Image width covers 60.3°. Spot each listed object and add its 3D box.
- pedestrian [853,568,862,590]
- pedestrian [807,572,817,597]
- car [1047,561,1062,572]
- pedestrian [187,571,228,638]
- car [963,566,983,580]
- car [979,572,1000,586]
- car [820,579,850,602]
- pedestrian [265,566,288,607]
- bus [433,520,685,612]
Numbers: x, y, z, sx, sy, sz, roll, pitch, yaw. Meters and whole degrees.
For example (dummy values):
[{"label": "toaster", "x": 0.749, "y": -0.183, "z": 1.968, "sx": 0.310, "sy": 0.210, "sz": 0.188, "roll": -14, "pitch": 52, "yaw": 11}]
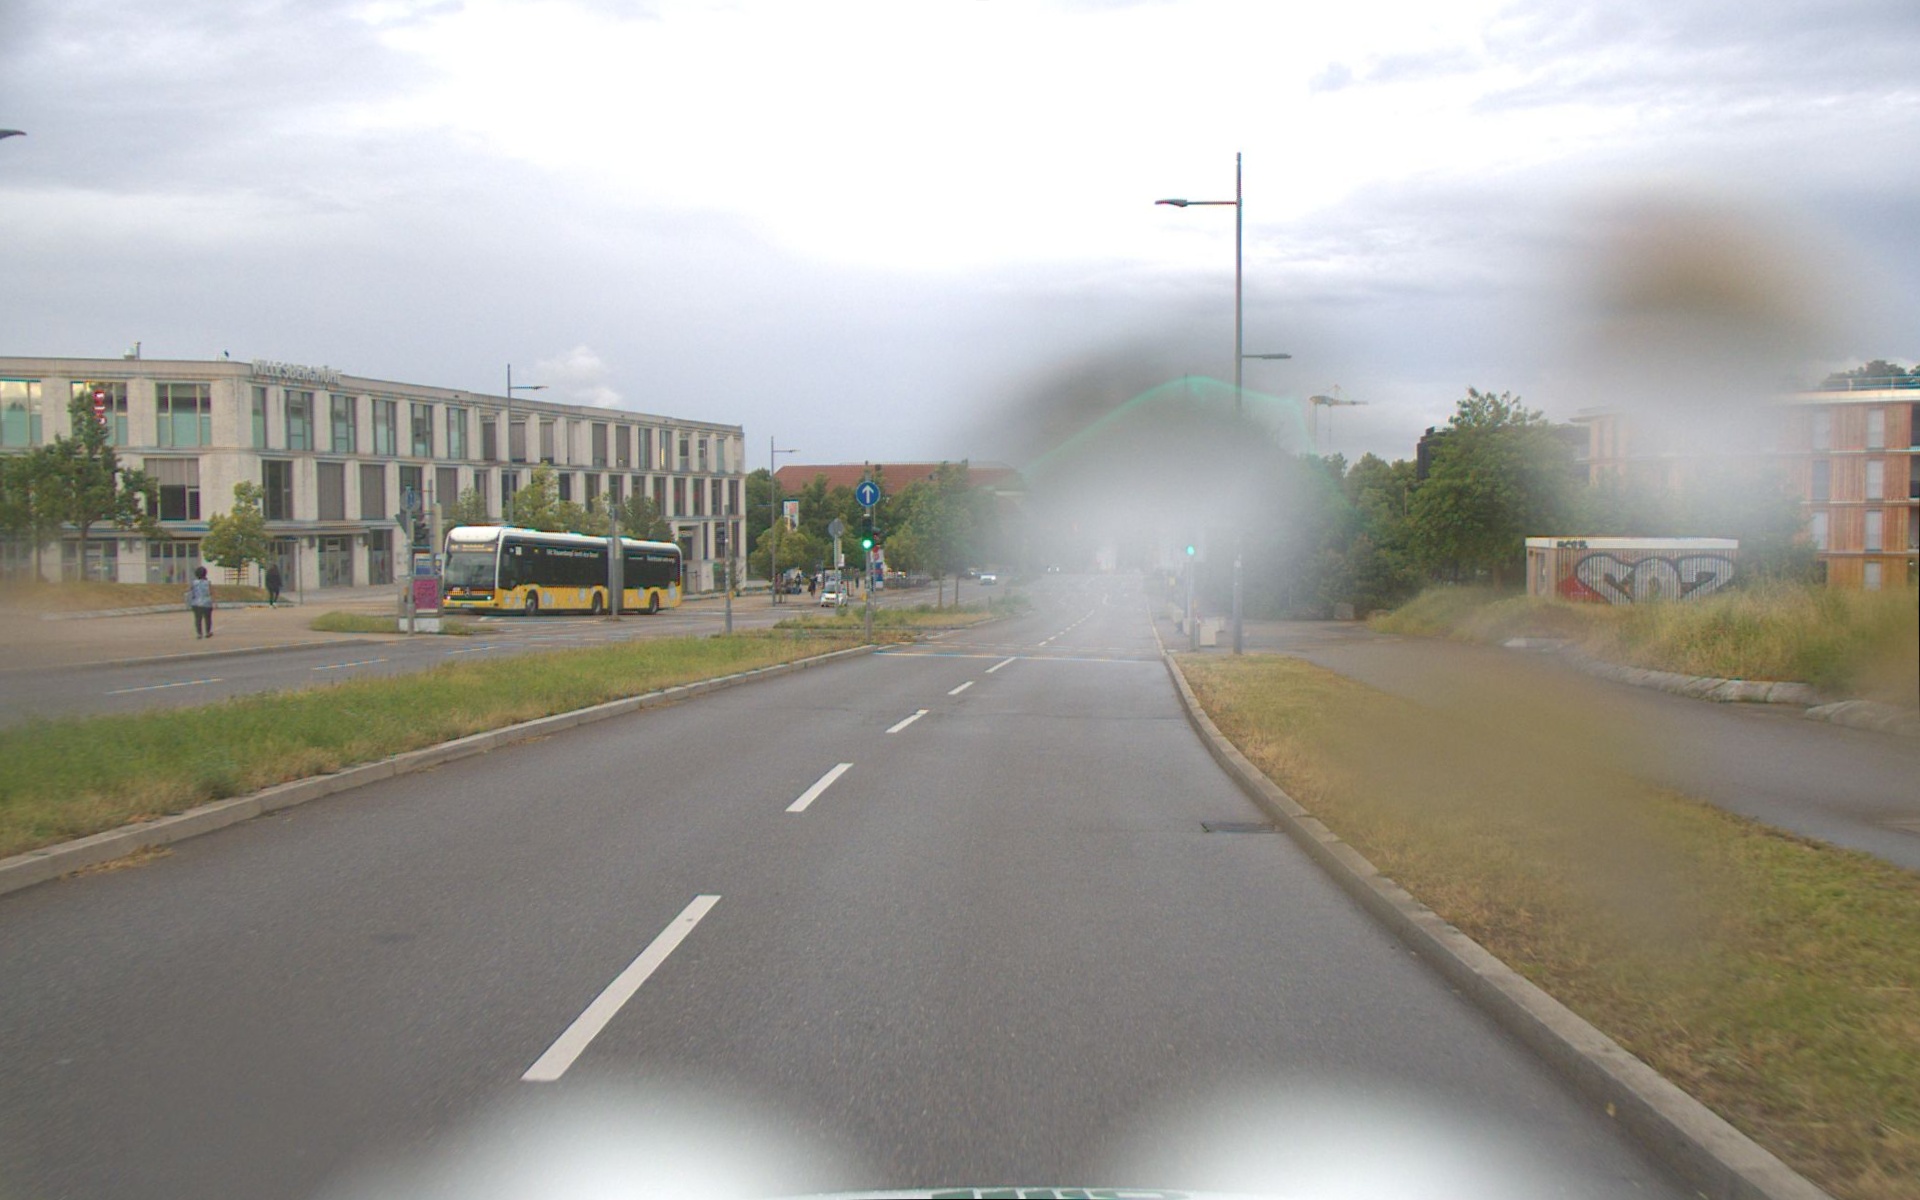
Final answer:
[{"label": "pedestrian", "x": -9.868, "y": -2.035, "z": 158.819, "sx": 0.735, "sy": 2.049, "sz": 0.835, "roll": 0, "pitch": -1, "yaw": -12}, {"label": "pedestrian", "x": -11.715, "y": -1.213, "z": 130.786, "sx": 0.735, "sy": 1.981, "sz": 0.835, "roll": 0, "pitch": -1, "yaw": -12}, {"label": "car", "x": 14.157, "y": -4.971, "z": 248.751, "sx": 1.731, "sy": 1.520, "sz": 4.071, "roll": 0, "pitch": -1, "yaw": 11}, {"label": "pedestrian", "x": -18.087, "y": 0.119, "z": 39.761, "sx": 0.821, "sy": 1.601, "sz": 0.715, "roll": 0, "pitch": -1, "yaw": -19}, {"label": "car", "x": 1.659, "y": -3.378, "z": 207.288, "sx": 1.738, "sy": 1.520, "sz": 4.056, "roll": 0, "pitch": -1, "yaw": -11}, {"label": "car", "x": 3.321, "y": -2.313, "z": 184.681, "sx": 1.731, "sy": 1.520, "sz": 4.071, "roll": 0, "pitch": -1, "yaw": 10}, {"label": "car", "x": -8.561, "y": -0.632, "z": 113.736, "sx": 1.446, "sy": 1.520, "sz": 2.532, "roll": 0, "pitch": -1, "yaw": 11}, {"label": "pedestrian", "x": -25.967, "y": -0.519, "z": 62.864, "sx": 0.670, "sy": 1.551, "sz": 0.717, "roll": 0, "pitch": -1, "yaw": -12}, {"label": "bus", "x": -16.734, "y": -1.215, "z": 71.743, "sx": 2.725, "sy": 3.416, "sz": 18.240, "roll": 0, "pitch": -1, "yaw": 13}]
